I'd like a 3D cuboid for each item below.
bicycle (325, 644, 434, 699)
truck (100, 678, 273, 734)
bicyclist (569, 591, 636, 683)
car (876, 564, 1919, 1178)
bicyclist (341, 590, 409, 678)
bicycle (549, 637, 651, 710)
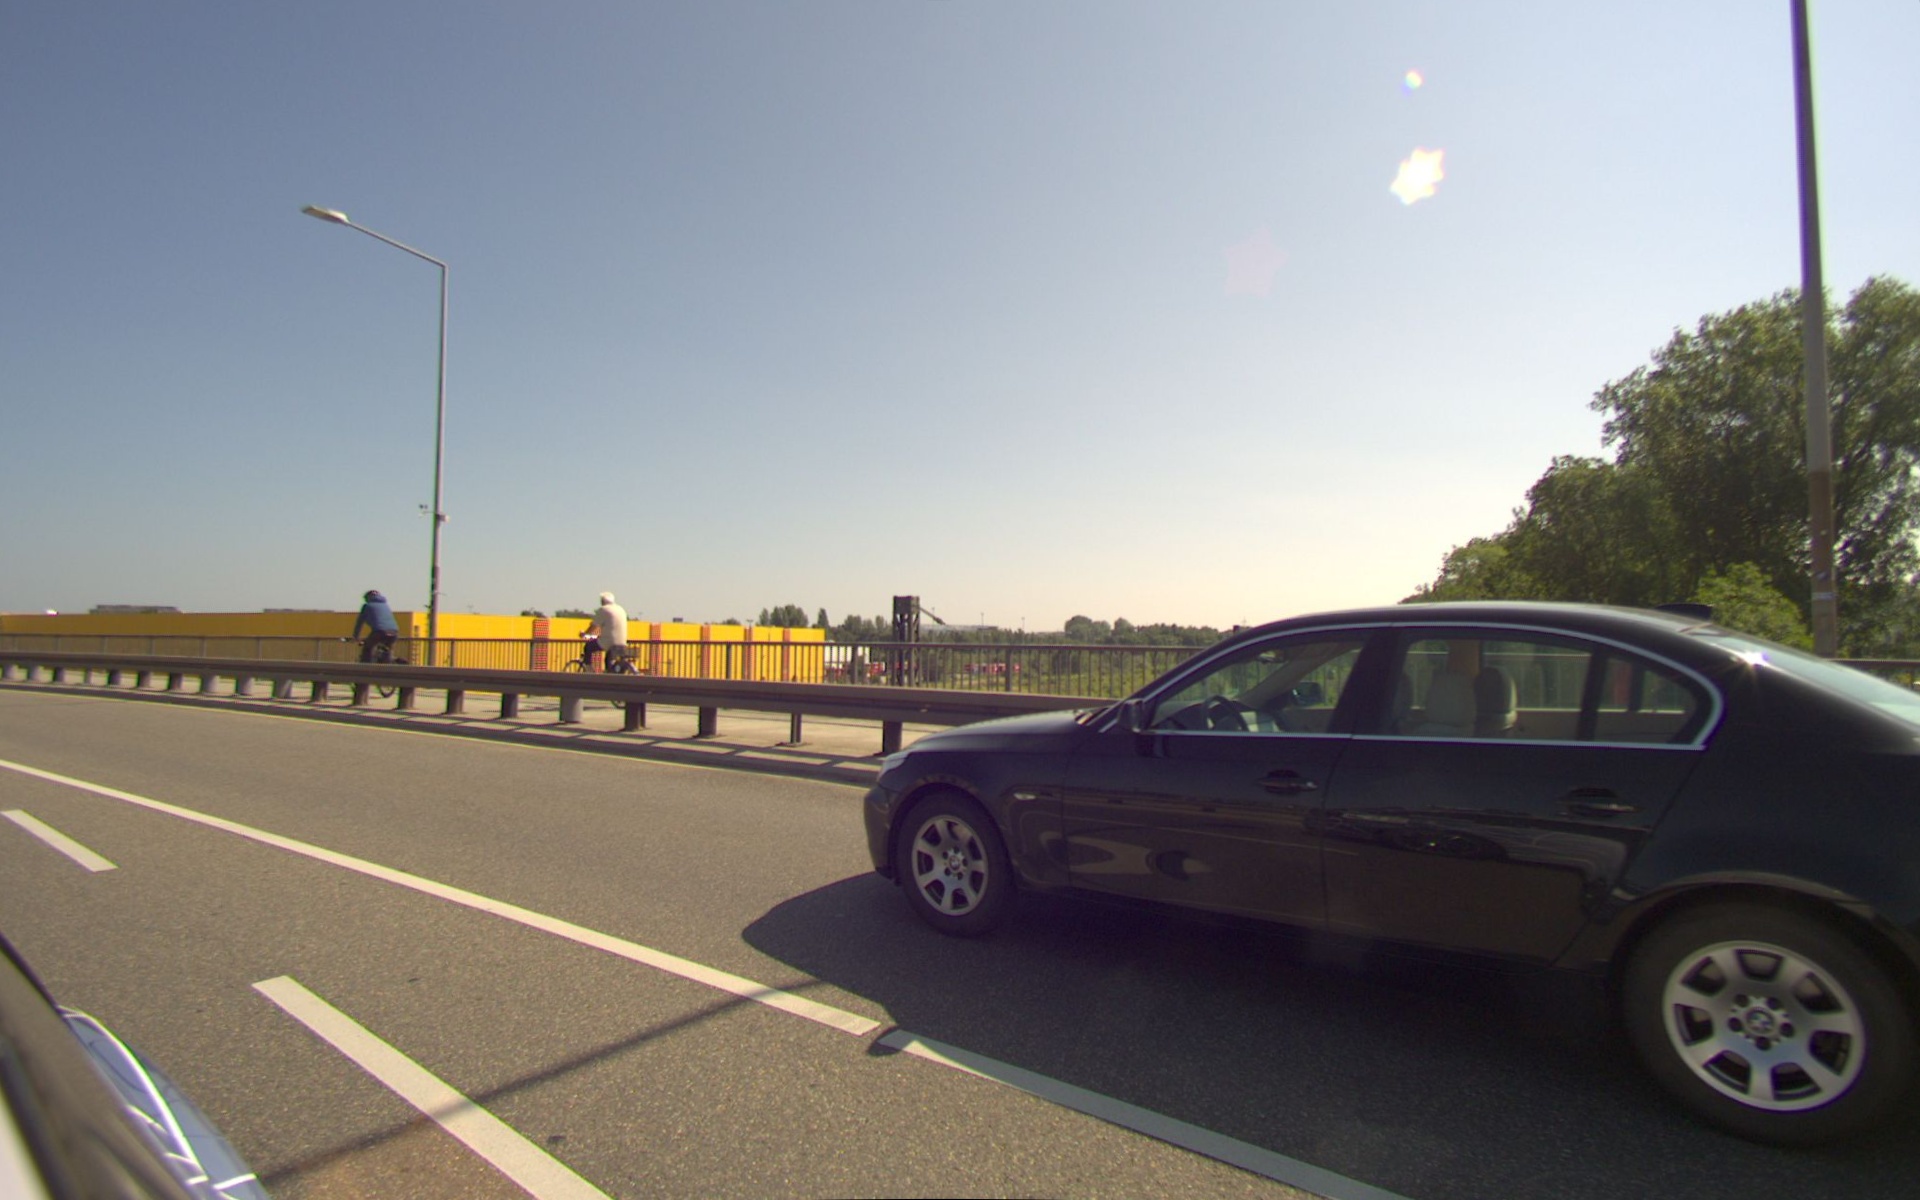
[{"bbox_3d":[-10.261,1.231,17.859,1.962,0.898,0.920,-2,-2,34],"label":"bicycle"},{"bbox_3d":[-100.177,13.574,131.788,5.933,5.720,17.428,0,-1,20],"label":"truck"},{"bbox_3d":[-5.362,0.538,15.172,0.944,1.339,0.484,0,0,35],"label":"bicyclist"},{"bbox_3d":[1.933,0.674,3.890,4.511,1.453,1.837,-2,-1,40],"label":"car"},{"bbox_3d":[-10.312,0.592,17.850,1.013,1.508,0.655,-1,-1,33],"label":"bicyclist"},{"bbox_3d":[-5.434,1.094,15.257,1.706,1.055,0.569,-2,-4,36],"label":"bicycle"}]
